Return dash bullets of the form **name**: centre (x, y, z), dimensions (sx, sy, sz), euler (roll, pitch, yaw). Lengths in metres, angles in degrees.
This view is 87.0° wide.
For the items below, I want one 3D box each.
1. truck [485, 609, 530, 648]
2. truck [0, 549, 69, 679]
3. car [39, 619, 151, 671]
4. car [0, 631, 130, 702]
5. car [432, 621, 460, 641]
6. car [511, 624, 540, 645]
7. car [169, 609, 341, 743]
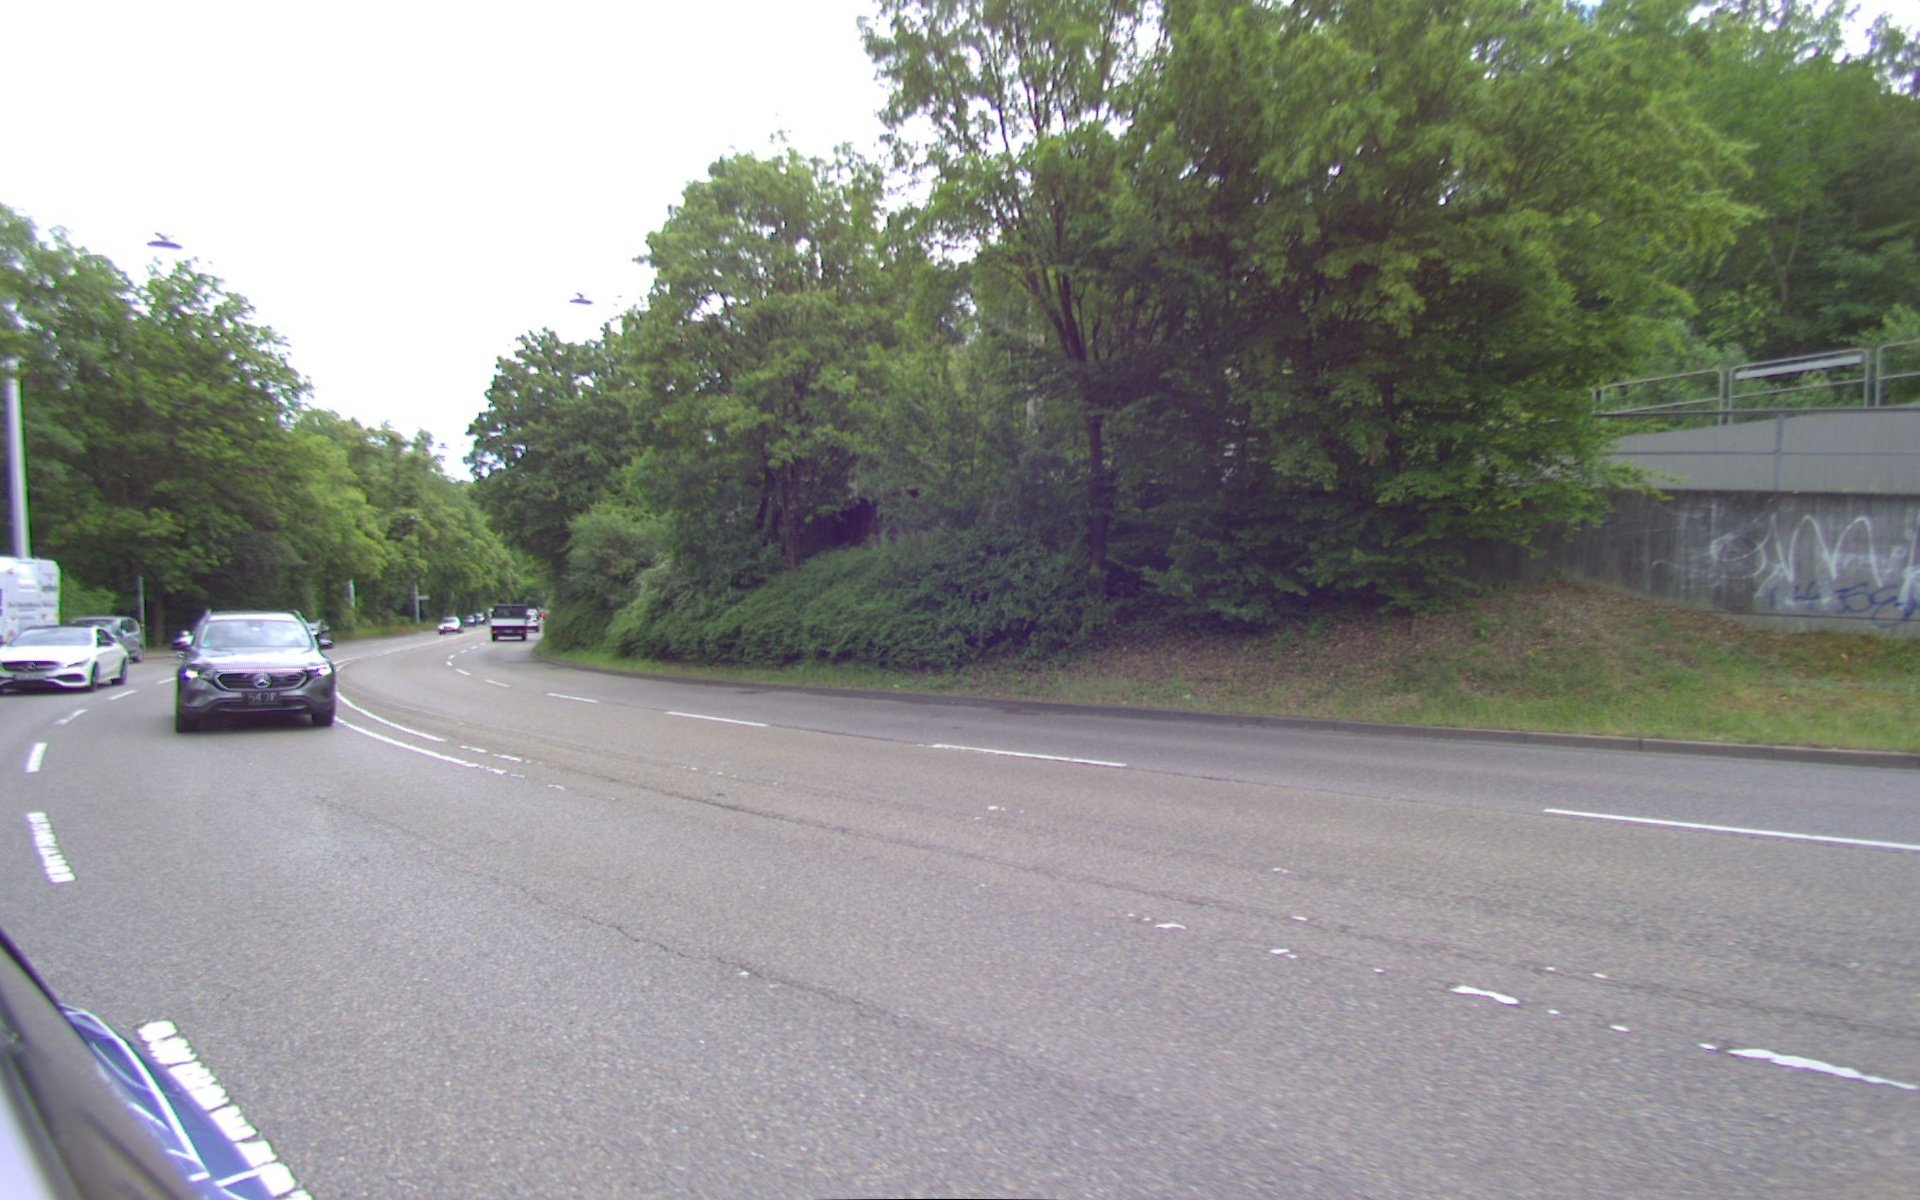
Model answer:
- **truck**: centre (-29.186, 1.853, 65.456), dimensions (2.130, 2.389, 6.699), euler (0, -2, -19)
- **truck**: centre (-25.153, 0.416, 25.309), dimensions (2.447, 3.205, 7.252), euler (-3, 0, -27)
- **car**: centre (-28.953, 1.462, 34.012), dimensions (1.777, 1.536, 4.013), euler (-2, 0, -24)
- **car**: centre (-19.677, 1.372, 21.955), dimensions (1.866, 1.306, 4.341), euler (0, -1, -30)
- **car**: centre (-43.498, 2.607, 85.657), dimensions (1.670, 1.594, 4.011), euler (-3, 0, -33)
- **car**: centre (-37.736, 3.024, 87.967), dimensions (1.830, 1.707, 4.449), euler (3, -2, -18)
- **car**: centre (-10.496, 0.991, 14.959), dimensions (1.842, 1.675, 4.201), euler (1, -1, -38)
